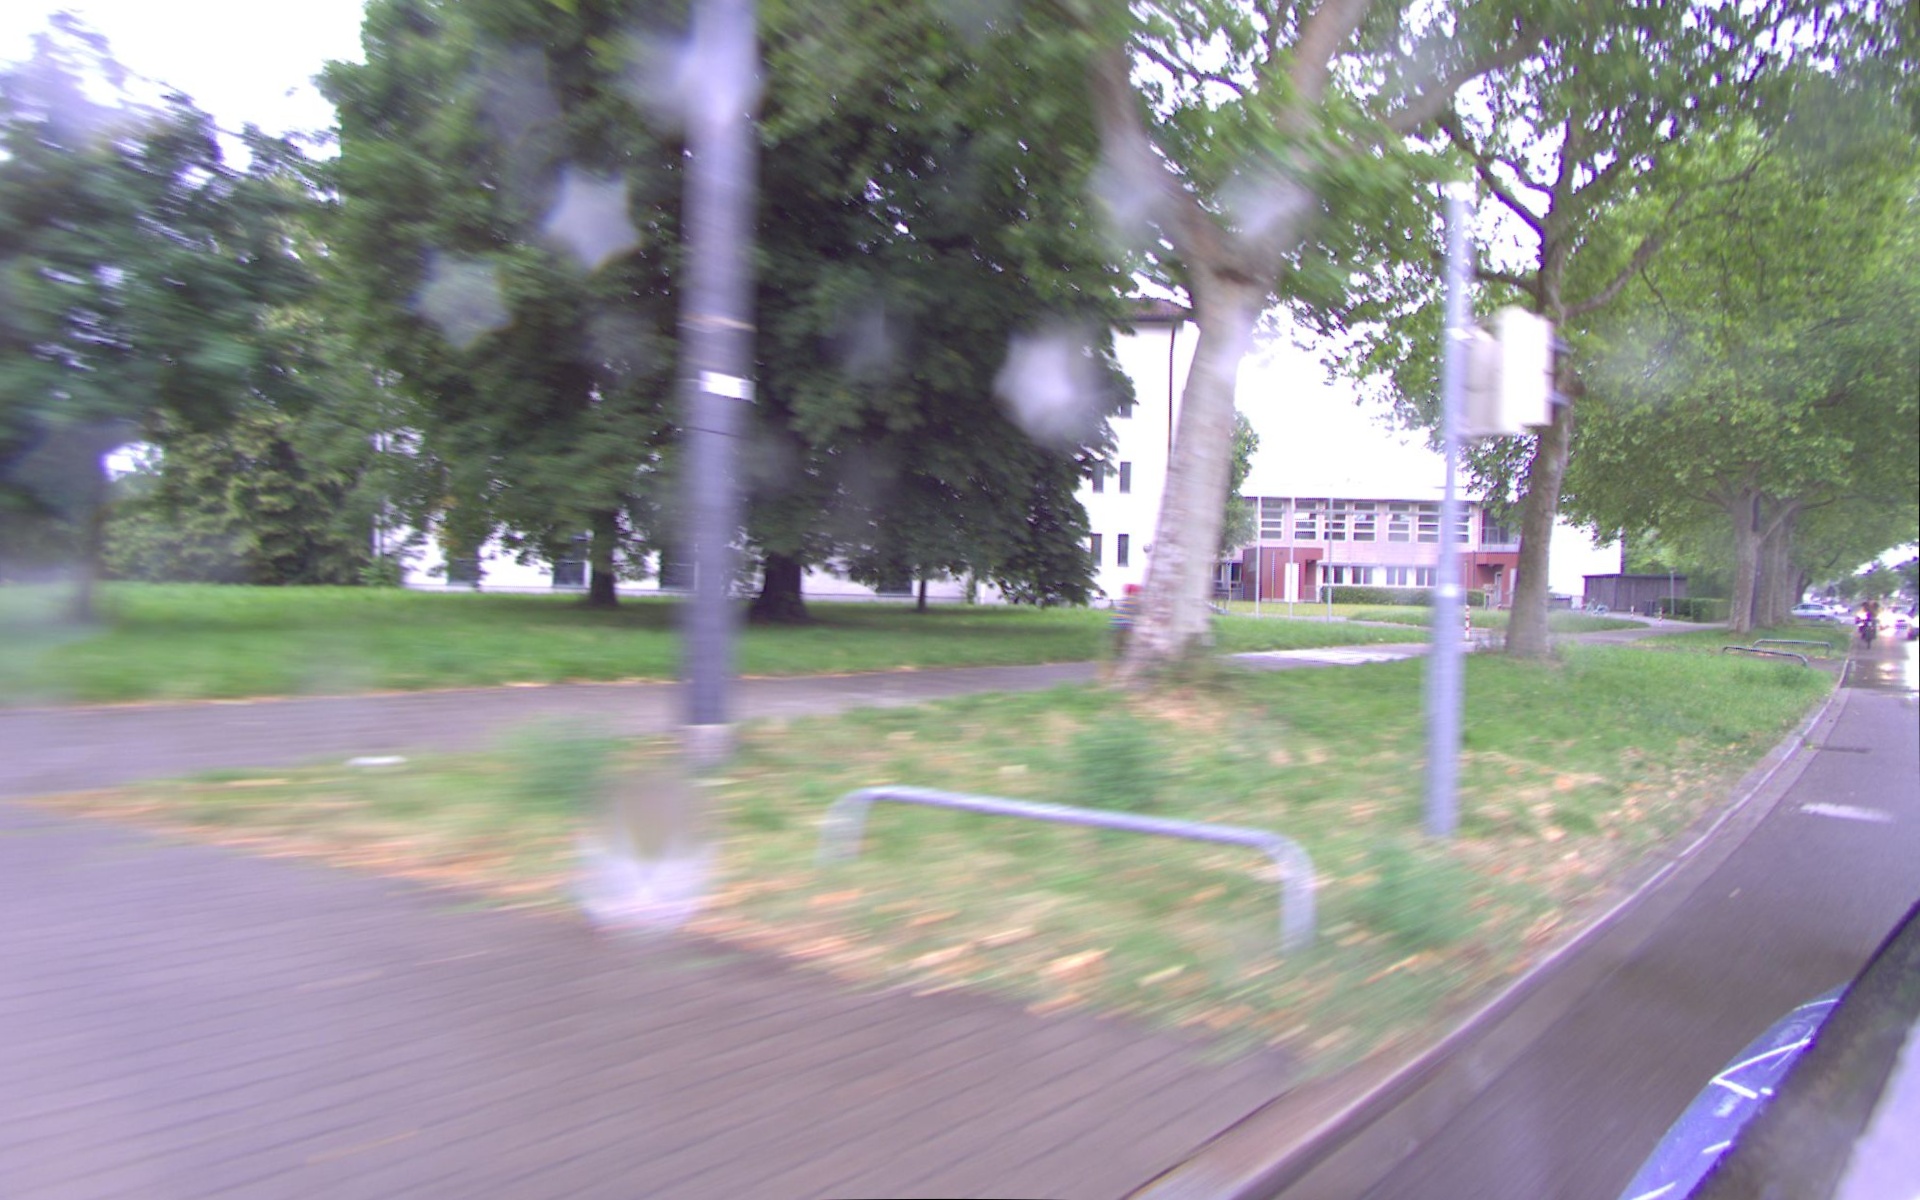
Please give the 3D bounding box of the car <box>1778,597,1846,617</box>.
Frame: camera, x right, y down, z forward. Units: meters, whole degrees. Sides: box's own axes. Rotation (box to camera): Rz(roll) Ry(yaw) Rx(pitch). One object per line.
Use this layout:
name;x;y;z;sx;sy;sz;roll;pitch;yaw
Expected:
car;70.922;0.591;84.285;3.972;1.505;1.626;2;1;24

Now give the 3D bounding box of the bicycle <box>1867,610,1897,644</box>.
bicycle;30.814;0.882;33.813;0.657;1.026;2.221;2;2;44

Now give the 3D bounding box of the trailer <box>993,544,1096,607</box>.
trailer;3.362;-0.983;40.532;3.948;2.337;1.891;2;1;4

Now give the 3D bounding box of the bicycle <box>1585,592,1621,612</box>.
bicycle;40.113;0.109;63.119;1.900;1.135;0.522;2;2;-4

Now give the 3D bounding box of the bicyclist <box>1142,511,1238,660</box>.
bicyclist;2.816;-0.189;12.397;0.940;1.742;0.713;-1;2;-39

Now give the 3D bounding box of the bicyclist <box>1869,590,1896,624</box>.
bicyclist;30.714;0.220;33.685;0.620;1.098;0.615;2;2;44

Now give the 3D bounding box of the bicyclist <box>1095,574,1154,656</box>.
bicyclist;2.159;0.185;13.287;0.581;1.051;0.488;0;1;-40

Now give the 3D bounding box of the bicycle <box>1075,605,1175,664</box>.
bicycle;2.191;0.439;13.340;1.432;0.717;0.488;0;1;-41

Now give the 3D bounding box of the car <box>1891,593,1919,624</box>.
car;55.055;0.464;58.479;1.761;1.747;3.876;1;0;41

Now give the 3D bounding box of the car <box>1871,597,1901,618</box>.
car;81.268;0.648;88.840;1.761;1.746;3.877;2;2;40

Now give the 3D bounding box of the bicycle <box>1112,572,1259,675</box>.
bicycle;2.786;0.244;12.395;1.937;1.156;0.713;-2;3;-40
